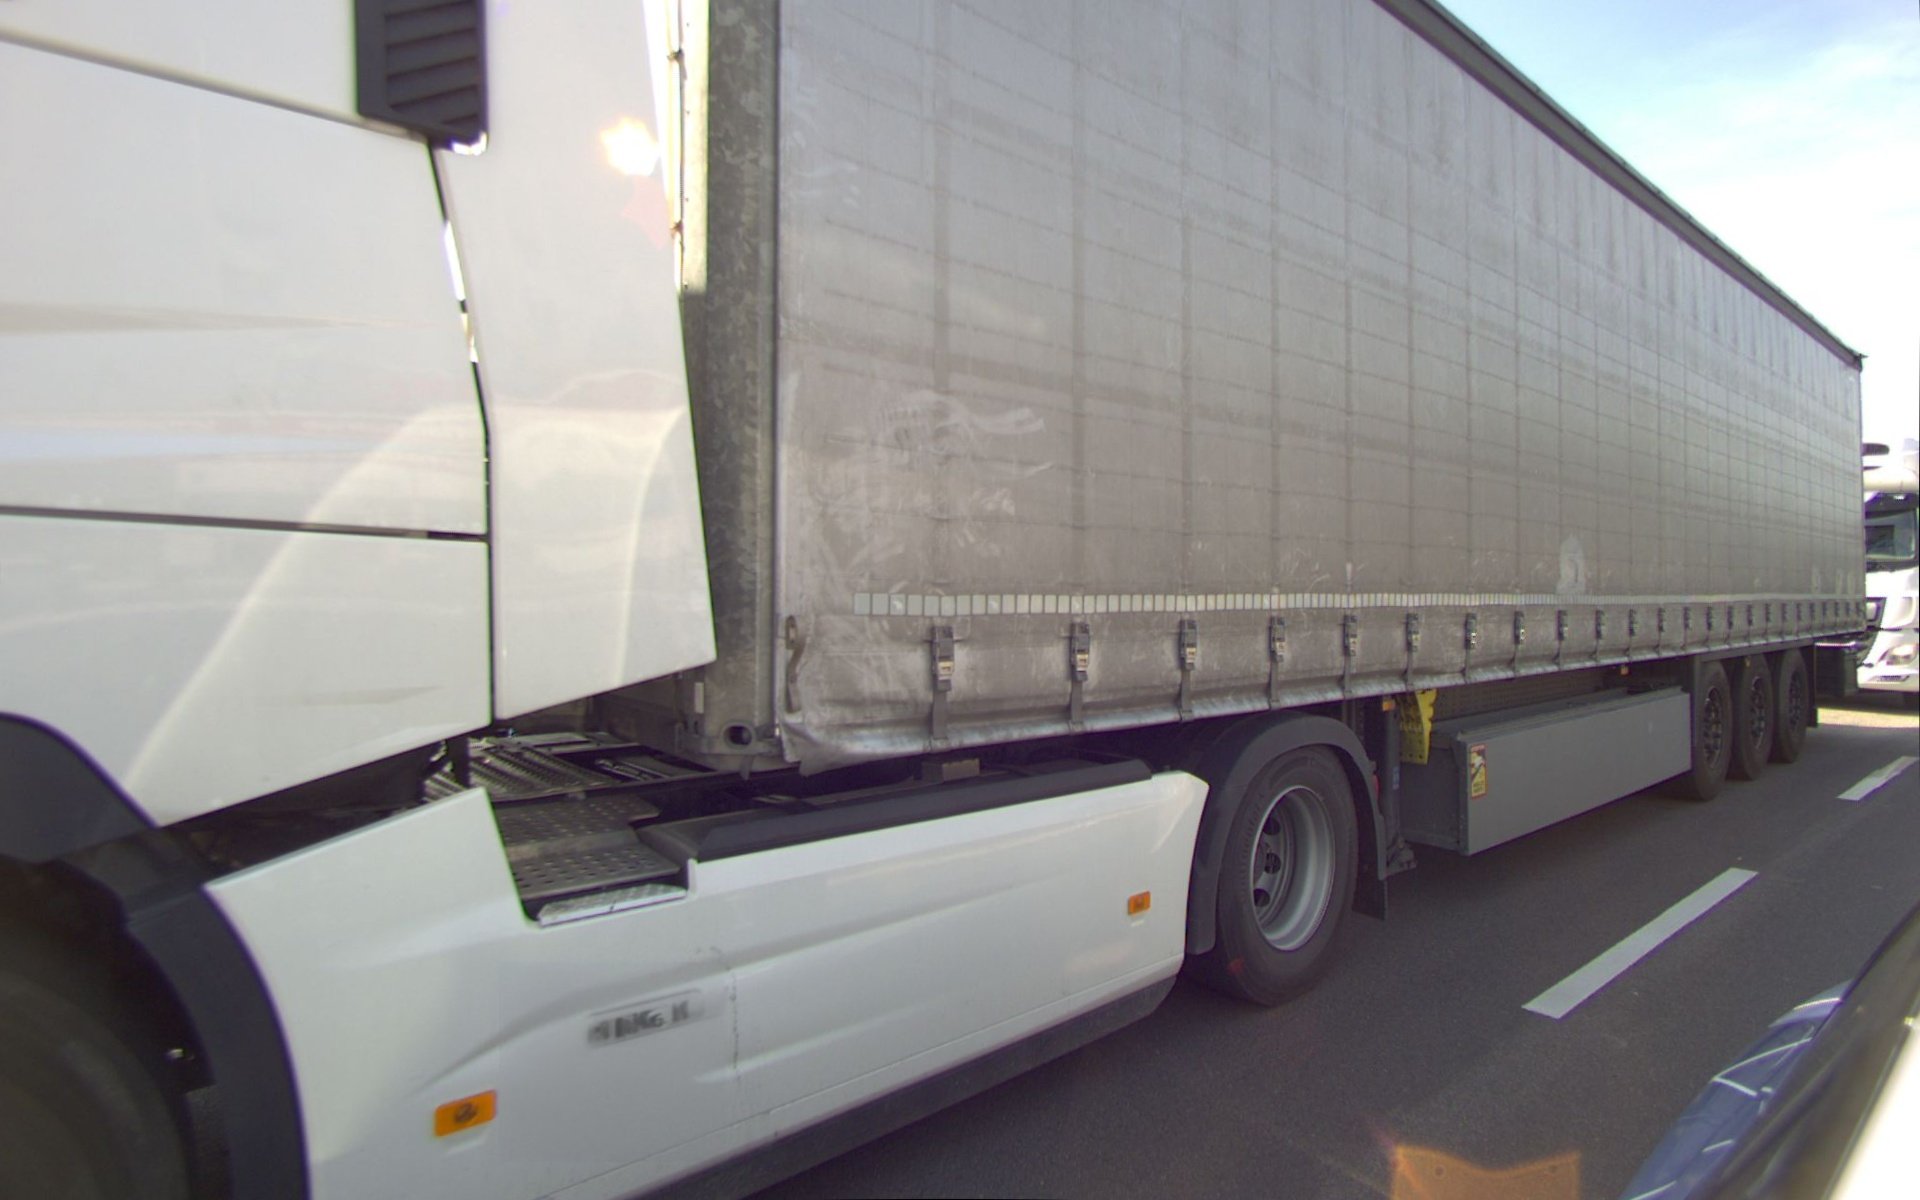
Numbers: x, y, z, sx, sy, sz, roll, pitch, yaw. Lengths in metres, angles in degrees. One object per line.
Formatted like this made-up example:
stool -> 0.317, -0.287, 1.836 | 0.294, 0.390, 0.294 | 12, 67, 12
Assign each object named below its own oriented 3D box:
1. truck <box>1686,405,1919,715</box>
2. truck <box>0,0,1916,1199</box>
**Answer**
truck -> 15.576, -0.527, 16.781 | 10.940, 3.859, 2.886 | 0, 0, -39
truck -> 2.847, -0.746, 6.555 | 16.411, 4.320, 2.896 | 0, 0, -40
